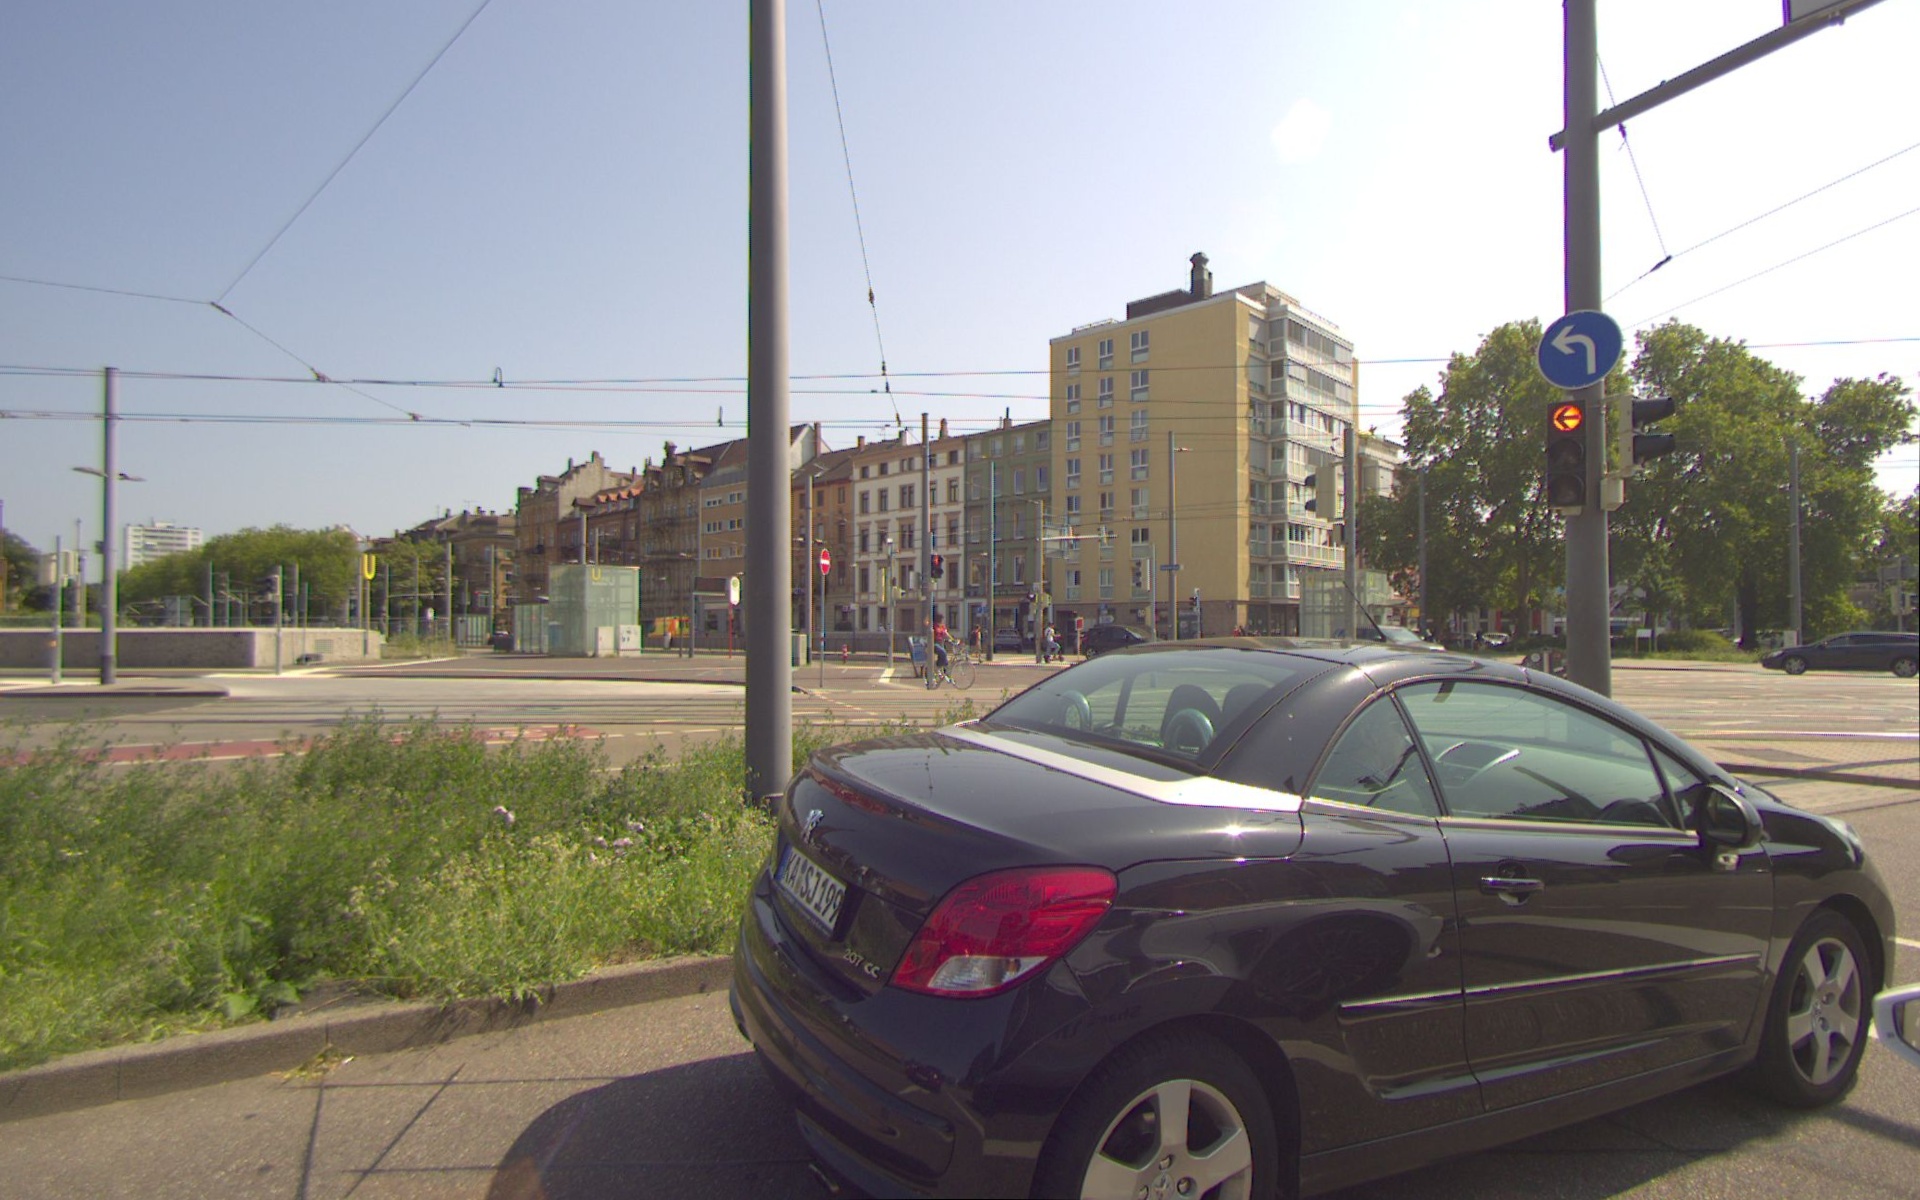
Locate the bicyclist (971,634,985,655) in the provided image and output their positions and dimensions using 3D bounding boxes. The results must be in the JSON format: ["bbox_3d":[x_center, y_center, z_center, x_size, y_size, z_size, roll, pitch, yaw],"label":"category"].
[{"bbox_3d":[1.345,3.331,75.293,0.897,1.528,0.558,-1,-2,30],"label":"bicyclist"}]

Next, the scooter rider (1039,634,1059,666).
[{"bbox_3d":[3.906,2.191,44.157,0.602,1.371,0.682,1,-2,-34],"label":"scooter rider"}]

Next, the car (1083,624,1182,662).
[{"bbox_3d":[7.518,1.835,44.084,1.725,1.581,4.160,1,-2,-40],"label":"car"}]

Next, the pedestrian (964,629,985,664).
[{"bbox_3d":[0.664,2.079,45.142,0.843,1.563,0.742,1,-2,-9],"label":"pedestrian"}]

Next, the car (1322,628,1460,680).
[{"bbox_3d":[14.408,1.750,33.871,1.743,1.621,4.525,1,-2,-18],"label":"car"}]

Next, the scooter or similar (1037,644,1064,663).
[{"bbox_3d":[3.970,2.338,44.082,1.132,0.835,0.517,1,-2,-35],"label":"scooter or similar"}]

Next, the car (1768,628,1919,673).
[{"bbox_3d":[30.162,1.670,33.669,4.700,1.434,1.767,-1,-2,42],"label":"car"}]

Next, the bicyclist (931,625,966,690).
[{"bbox_3d":[-0.276,1.356,23.940,0.632,1.529,0.553,1,-2,-36],"label":"bicyclist"}]

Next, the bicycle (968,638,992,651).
[{"bbox_3d":[1.481,3.331,75.206,1.787,0.954,0.567,-1,-2,30],"label":"bicycle"}]

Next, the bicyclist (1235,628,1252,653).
[{"bbox_3d":[17.524,2.486,62.034,0.861,1.495,0.543,-1,-2,43],"label":"bicyclist"}]

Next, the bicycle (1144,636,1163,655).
[{"bbox_3d":[12.988,3.063,67.560,0.892,1.220,3.265,0,-2,5],"label":"bicycle"}]

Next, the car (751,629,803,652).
[{"bbox_3d":[-13.536,2.967,74.258,1.743,1.639,4.279,2,-2,-44],"label":"car"}]

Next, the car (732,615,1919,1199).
[{"bbox_3d":[1.306,0.791,3.311,3.730,1.406,1.760,1,0,-25],"label":"car"}]

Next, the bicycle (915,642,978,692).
[{"bbox_3d":[-0.331,1.572,23.835,0.499,1.108,1.918,1,-2,-35],"label":"bicycle"}]

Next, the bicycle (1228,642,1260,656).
[{"bbox_3d":[17.514,3.001,62.060,1.836,0.813,0.604,-1,-2,43],"label":"bicycle"}]

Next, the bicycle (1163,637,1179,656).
[{"bbox_3d":[13.890,3.033,66.210,0.680,1.220,3.265,0,-2,5],"label":"bicycle"}]
